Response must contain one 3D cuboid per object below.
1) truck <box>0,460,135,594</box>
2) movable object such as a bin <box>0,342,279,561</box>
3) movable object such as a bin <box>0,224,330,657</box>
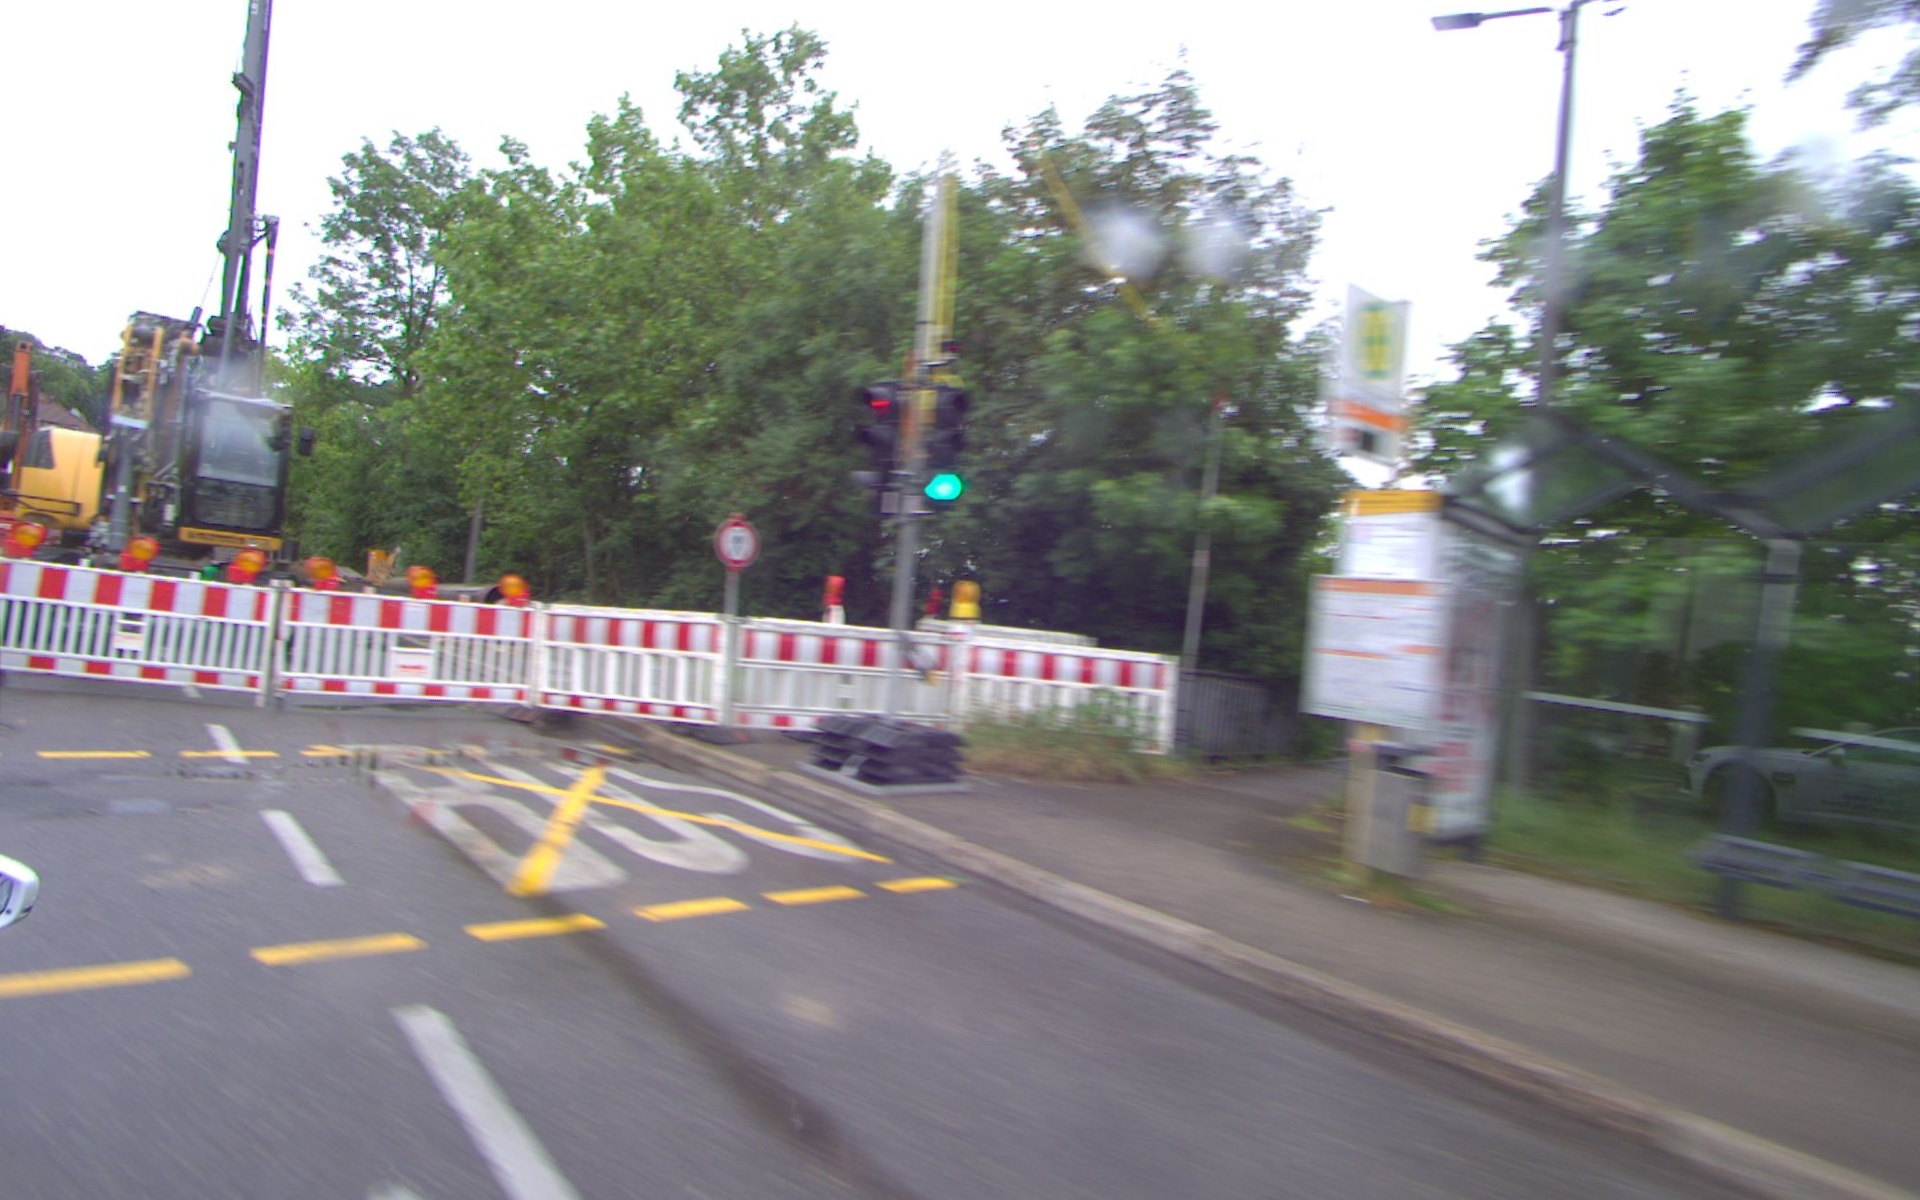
[{"bbox_3d":[-17.040,-1.351,18.552,2.541,2.134,3.265,5,0,-43],"label":"truck"},{"bbox_3d":[-24.149,-4.029,30.183,3.635,5.129,7.144,5,0,-14],"label":"movable object such as a bin"},{"bbox_3d":[-10.115,-1.690,12.717,2.864,4.224,4.438,5,1,-39],"label":"movable object such as a bin"}]
